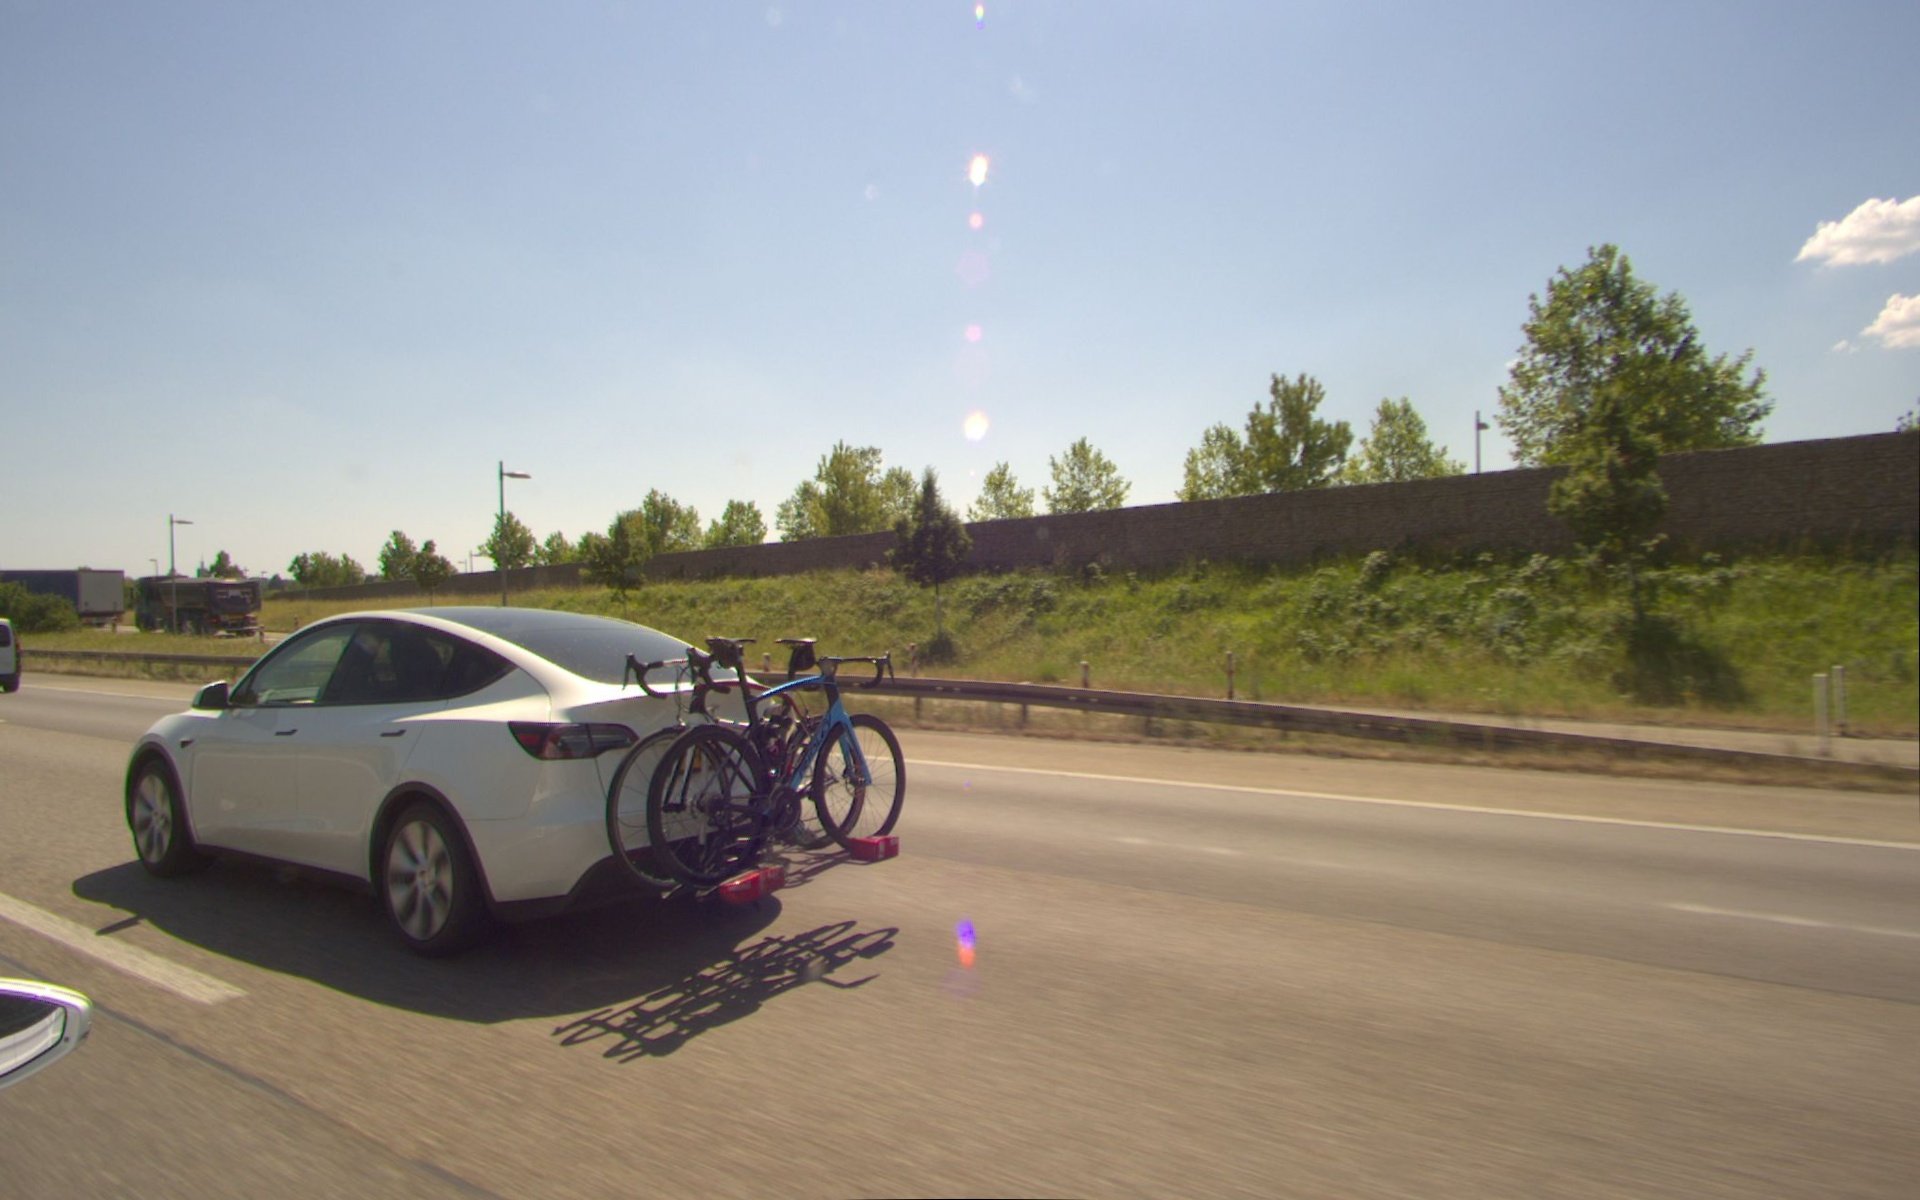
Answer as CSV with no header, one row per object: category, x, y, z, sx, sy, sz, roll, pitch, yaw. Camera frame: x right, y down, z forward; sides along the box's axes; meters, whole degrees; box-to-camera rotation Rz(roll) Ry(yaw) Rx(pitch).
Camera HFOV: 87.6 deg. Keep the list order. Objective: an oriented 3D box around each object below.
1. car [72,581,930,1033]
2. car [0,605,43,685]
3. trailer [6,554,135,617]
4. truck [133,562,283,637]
car,-3.004,0.800,5.966,5.519,1.657,1.947,-1,-1,32
car,-24.320,1.073,24.281,4.117,1.862,1.947,-1,0,31
trailer,-64.867,-0.886,72.863,14.050,4.135,3.048,-1,-2,31
truck,-45.281,0.111,60.068,12.356,4.135,3.777,-1,-2,36
